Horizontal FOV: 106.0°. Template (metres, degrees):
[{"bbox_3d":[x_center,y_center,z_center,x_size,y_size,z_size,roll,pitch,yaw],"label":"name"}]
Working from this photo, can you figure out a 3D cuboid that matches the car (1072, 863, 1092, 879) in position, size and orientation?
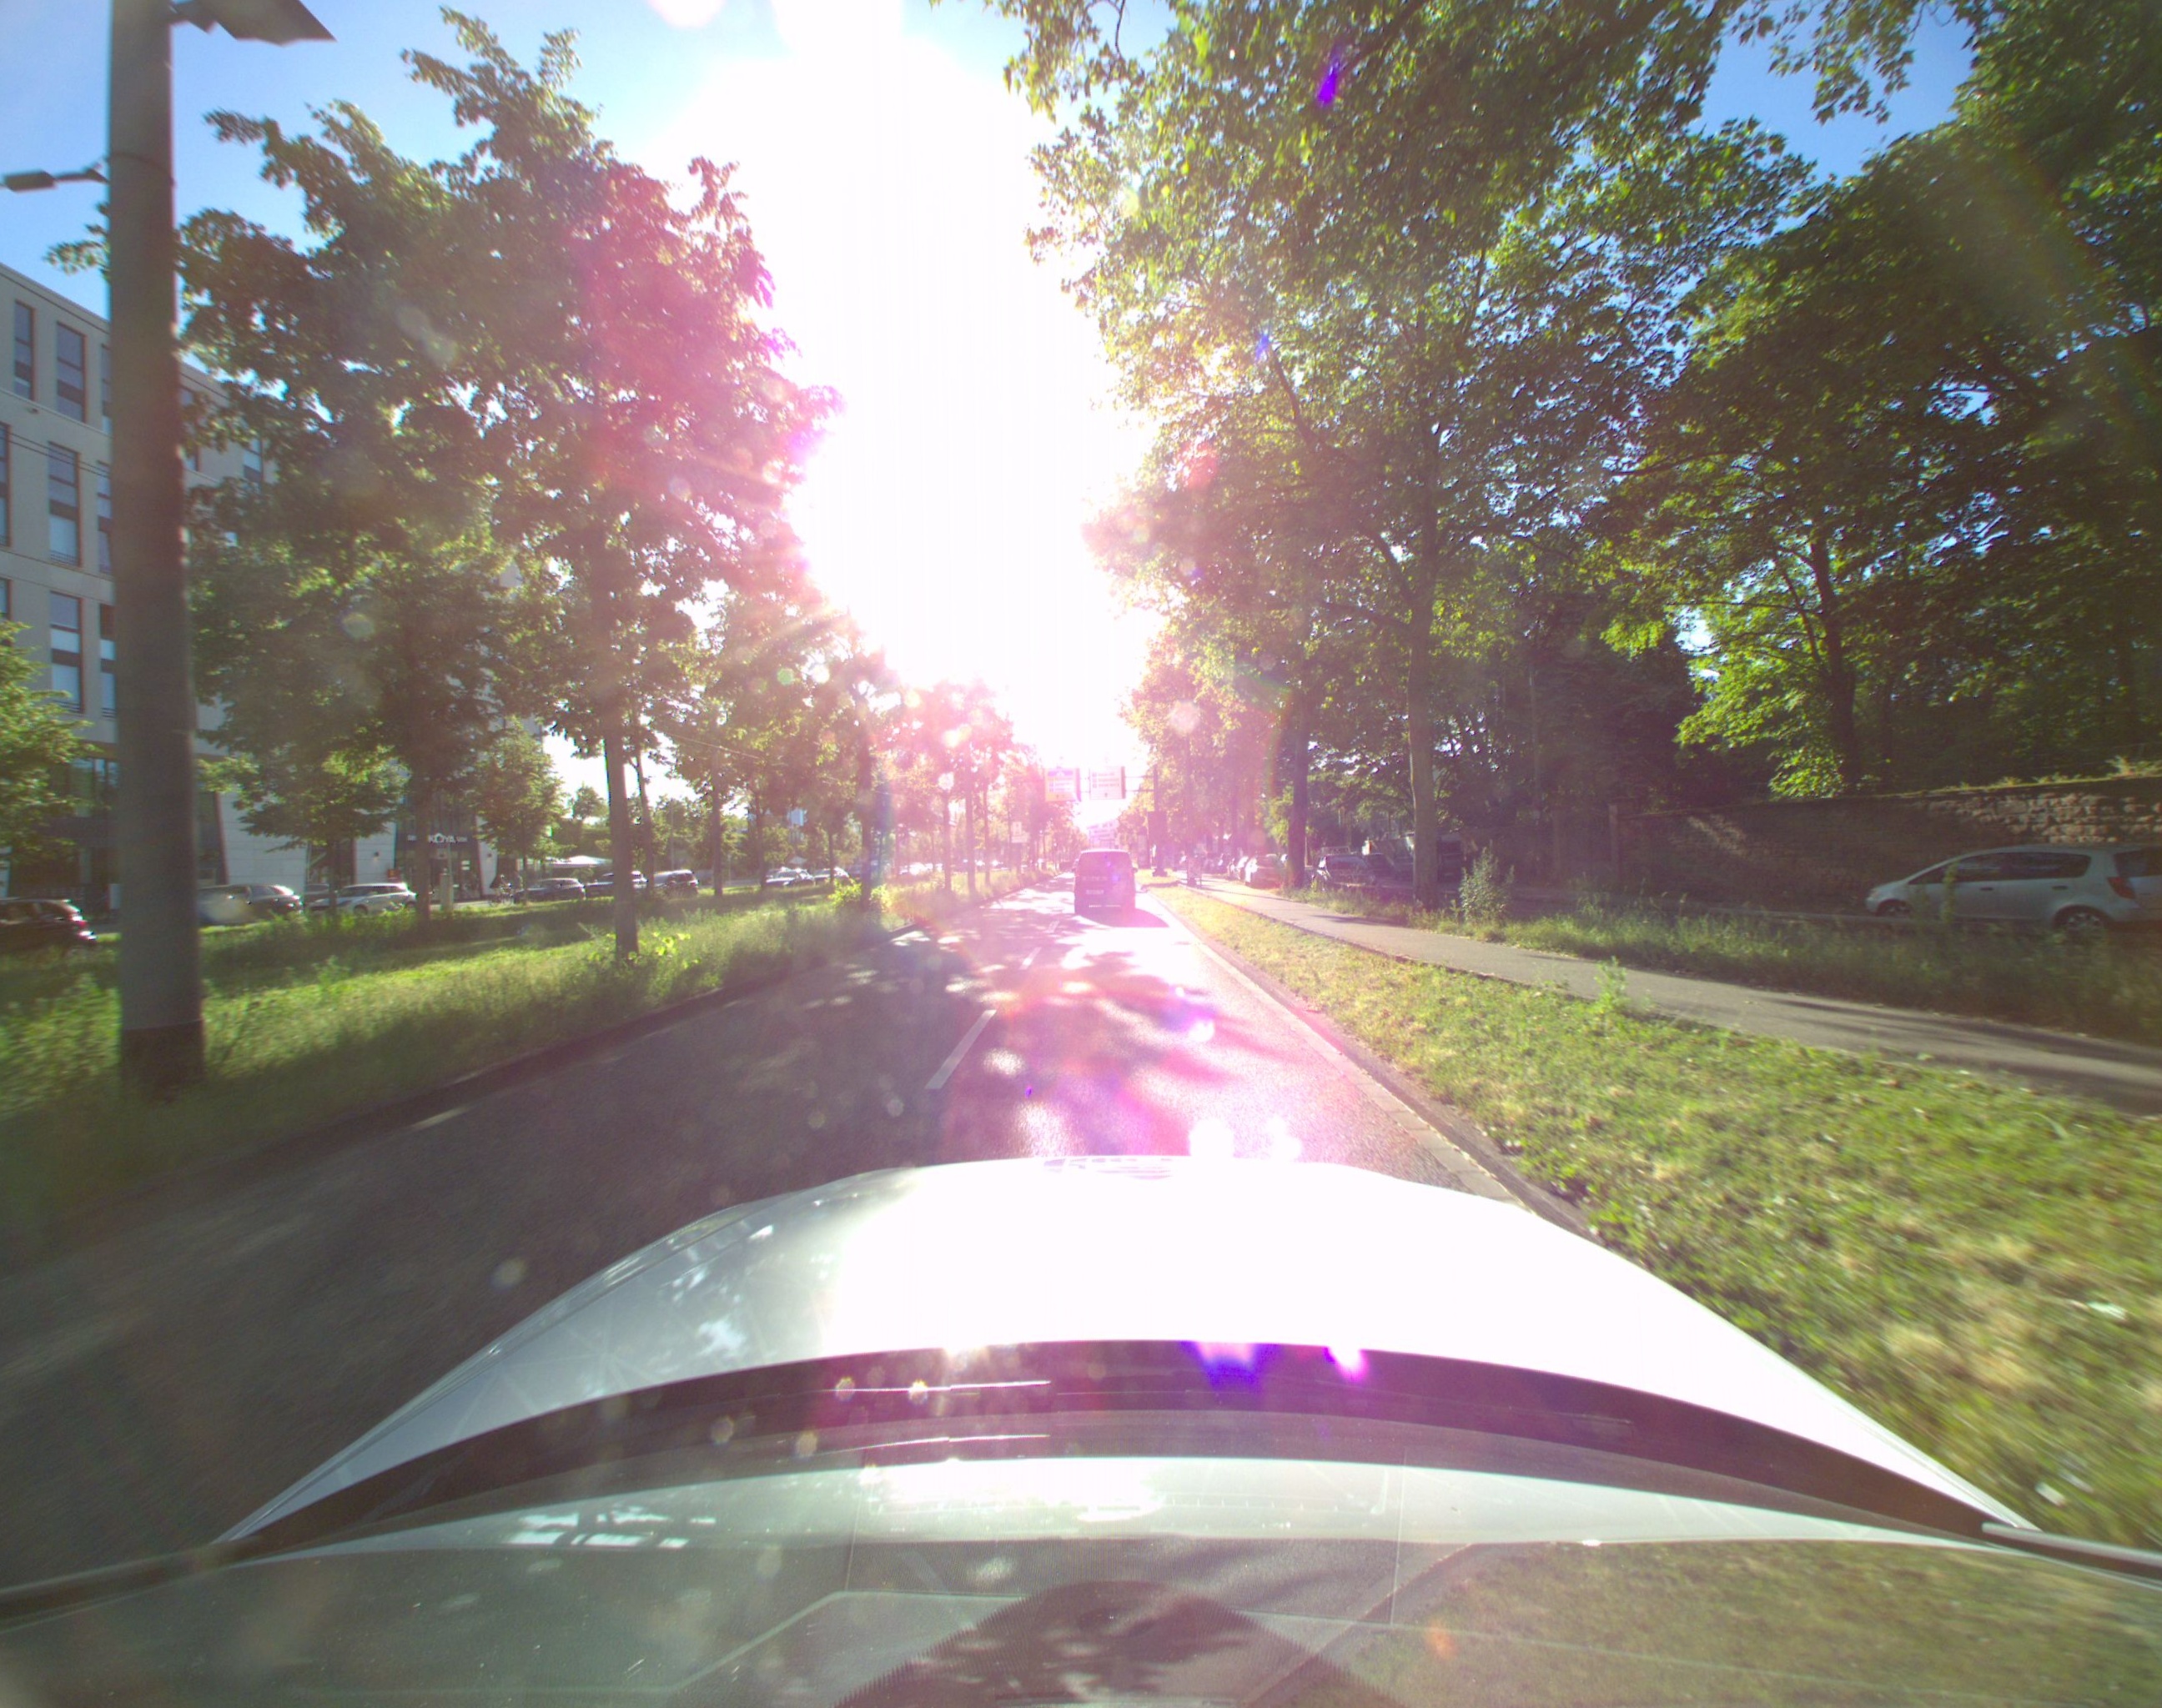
[{"bbox_3d":[0.120,1.827,88.488,1.986,1.618,4.002,0,-1,2],"label":"car"}]

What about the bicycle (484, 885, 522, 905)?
[{"bbox_3d":[-36.704,2.616,51.738,0.731,1.198,2.241,0,-1,1],"label":"bicycle"}]

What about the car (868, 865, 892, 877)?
[{"bbox_3d":[-27.740,2.388,112.452,1.985,1.608,4.614,0,-1,3],"label":"car"}]

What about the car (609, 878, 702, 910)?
[{"bbox_3d":[-21.538,1.981,41.496,1.984,1.441,4.708,0,-1,4],"label":"car"}]

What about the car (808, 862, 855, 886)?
[{"bbox_3d":[-20.268,1.581,66.354,1.986,1.841,5.253,-1,0,2],"label":"car"}]

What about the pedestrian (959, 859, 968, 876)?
[{"bbox_3d":[-12.393,1.409,85.935,0.818,1.836,0.726,0,-1,-1],"label":"pedestrian"}]

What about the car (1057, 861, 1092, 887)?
[{"bbox_3d":[-0.320,1.090,45.206,1.785,1.428,4.002,0,-1,2],"label":"car"}]

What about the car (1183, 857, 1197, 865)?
[{"bbox_3d":[18.195,1.161,135.947,1.864,1.368,4.001,0,-1,2],"label":"car"}]

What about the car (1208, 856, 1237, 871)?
[{"bbox_3d":[12.043,0.816,69.546,1.985,1.290,4.056,0,-1,3],"label":"car"}]

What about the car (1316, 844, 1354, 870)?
[{"bbox_3d":[20.862,0.288,67.188,2.076,2.014,4.951,-1,-1,6],"label":"car"}]

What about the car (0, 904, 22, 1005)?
[{"bbox_3d":[-19.334,1.679,11.484,1.986,1.686,5.112,0,-1,1],"label":"car"}]

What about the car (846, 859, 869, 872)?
[{"bbox_3d":[-34.825,1.763,127.071,1.985,2.014,4.566,0,-1,3],"label":"car"}]

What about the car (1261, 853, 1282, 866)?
[{"bbox_3d":[24.901,0.749,106.641,1.985,1.640,4.003,0,-1,3],"label":"car"}]

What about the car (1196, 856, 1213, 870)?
[{"bbox_3d":[14.179,1.039,93.550,1.654,1.500,2.992,0,-1,4],"label":"car"}]

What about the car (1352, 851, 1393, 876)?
[{"bbox_3d":[19.209,0.612,53.747,1.681,1.472,3.765,-4,-1,7],"label":"car"}]

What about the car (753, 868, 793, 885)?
[{"bbox_3d":[-29.017,2.078,76.945,1.872,1.435,4.613,-2,0,2],"label":"car"}]

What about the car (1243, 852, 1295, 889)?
[{"bbox_3d":[8.709,0.756,38.031,1.784,1.560,4.025,2,-1,5],"label":"car"}]

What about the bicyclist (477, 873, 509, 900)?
[{"bbox_3d":[-32.121,1.752,44.498,0.487,1.406,1.661,0,-1,2],"label":"bicyclist"}]

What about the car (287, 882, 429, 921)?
[{"bbox_3d":[-30.312,1.959,34.356,1.987,1.441,4.454,0,-1,-1],"label":"car"}]

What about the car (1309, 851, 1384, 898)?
[{"bbox_3d":[9.768,0.741,30.326,1.784,1.634,4.635,0,-1,7],"label":"car"}]

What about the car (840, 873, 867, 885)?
[{"bbox_3d":[-28.364,3.110,101.546,1.905,1.325,4.614,0,-1,3],"label":"car"}]

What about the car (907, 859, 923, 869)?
[{"bbox_3d":[-32.664,1.966,160.029,1.985,2.014,4.566,0,-1,3],"label":"car"}]

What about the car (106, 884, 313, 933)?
[{"bbox_3d":[-30.523,1.857,28.828,1.987,1.441,4.935,0,-1,-1],"label":"car"}]

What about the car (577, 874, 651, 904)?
[{"bbox_3d":[-29.545,2.203,51.705,1.987,1.772,4.775,0,-1,0],"label":"car"}]

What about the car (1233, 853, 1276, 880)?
[{"bbox_3d":[9.521,0.691,44.989,1.785,1.438,3.888,0,-1,4],"label":"car"}]

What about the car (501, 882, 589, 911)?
[{"bbox_3d":[-29.594,2.317,45.127,1.950,1.441,4.267,0,-1,2],"label":"car"}]

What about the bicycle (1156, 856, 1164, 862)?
[{"bbox_3d":[16.776,1.134,173.228,1.771,1.268,0.479,0,-1,2],"label":"bicycle"}]

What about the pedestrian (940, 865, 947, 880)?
[{"bbox_3d":[-14.155,1.940,84.067,0.547,1.518,0.589,0,-1,7],"label":"pedestrian"}]

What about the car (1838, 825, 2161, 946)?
[{"bbox_3d":[15.831,0.454,13.851,1.839,1.618,3.988,-5,0,-9],"label":"car"}]

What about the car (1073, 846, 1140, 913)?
[{"bbox_3d":[0.675,0.717,24.344,1.803,1.838,3.998,0,-1,-1],"label":"car"}]

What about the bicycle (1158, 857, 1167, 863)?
[{"bbox_3d":[17.140,1.351,172.011,1.910,1.268,0.479,-1,-1,2],"label":"bicycle"}]

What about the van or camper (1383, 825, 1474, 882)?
[{"bbox_3d":[18.429,-0.016,43.624,2.543,2.684,6.576,-4,0,6],"label":"van or camper"}]

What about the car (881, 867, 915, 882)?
[{"bbox_3d":[-18.083,1.964,80.583,1.984,1.441,4.461,0,-1,4],"label":"car"}]

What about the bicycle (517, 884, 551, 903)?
[{"bbox_3d":[-36.580,2.655,54.466,0.731,1.198,2.241,0,-1,1],"label":"bicycle"}]

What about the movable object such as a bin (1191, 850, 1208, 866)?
[{"bbox_3d":[15.072,0.533,103.841,2.071,2.014,2.139,0,-1,5],"label":"movable object such as a bin"}]

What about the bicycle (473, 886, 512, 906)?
[{"bbox_3d":[-32.128,2.269,44.514,0.495,1.001,2.189,0,-1,2],"label":"bicycle"}]

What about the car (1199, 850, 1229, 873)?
[{"bbox_3d":[12.340,0.700,75.799,2.181,2.014,5.824,0,-1,3],"label":"car"}]

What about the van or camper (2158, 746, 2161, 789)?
[{"bbox_3d":[15.694,-0.198,8.543,1.988,2.731,4.961,-4,-1,-1],"label":"van or camper"}]

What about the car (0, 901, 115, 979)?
[{"bbox_3d":[-22.151,1.707,15.190,1.985,1.441,5.113,0,-1,2],"label":"car"}]

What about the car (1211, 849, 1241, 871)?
[{"bbox_3d":[11.082,0.461,62.519,1.729,1.642,4.356,0,-1,3],"label":"car"}]
